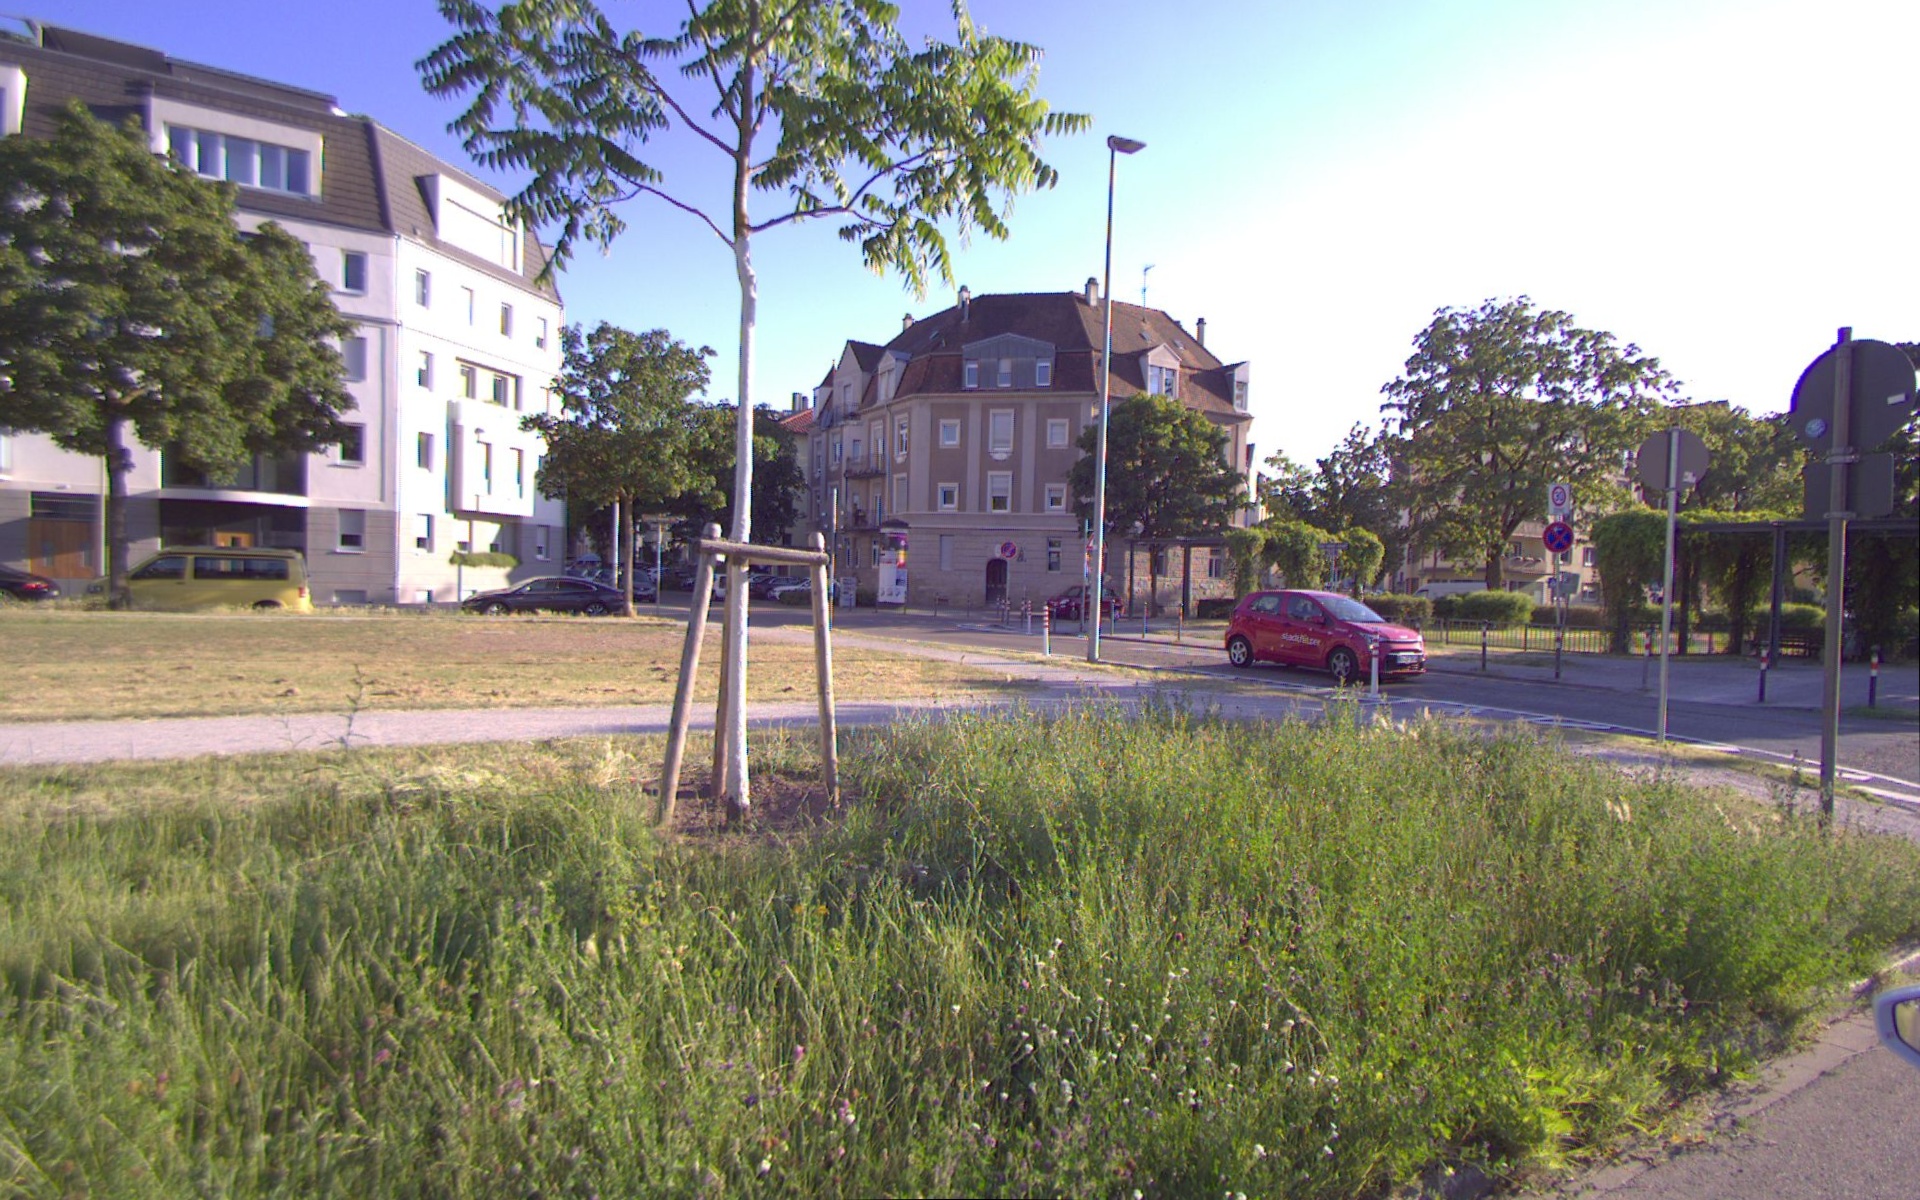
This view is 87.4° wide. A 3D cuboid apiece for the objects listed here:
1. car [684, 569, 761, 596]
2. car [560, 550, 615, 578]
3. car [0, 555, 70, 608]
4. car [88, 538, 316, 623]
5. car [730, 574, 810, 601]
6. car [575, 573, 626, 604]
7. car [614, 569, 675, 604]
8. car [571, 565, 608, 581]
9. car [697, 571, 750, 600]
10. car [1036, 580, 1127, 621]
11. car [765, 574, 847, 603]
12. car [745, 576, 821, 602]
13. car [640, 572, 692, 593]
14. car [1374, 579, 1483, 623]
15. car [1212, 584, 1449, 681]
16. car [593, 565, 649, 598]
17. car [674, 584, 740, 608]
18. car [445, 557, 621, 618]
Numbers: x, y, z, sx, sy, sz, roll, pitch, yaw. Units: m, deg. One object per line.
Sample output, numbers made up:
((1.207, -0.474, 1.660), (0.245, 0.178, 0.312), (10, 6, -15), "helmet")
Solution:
((-15.427, -1.152, 65.302), (4.491, 1.663, 1.857), (1, 2, -32), "car")
((-42.756, -4.088, 115.399), (5.501, 3.008, 2.449), (1, 2, -33), "car")
((-28.323, -0.565, 28.774), (3.953, 1.483, 1.664), (1, 1, -30), "car")
((-20.010, -0.480, 26.818), (4.642, 2.041, 2.015), (1, 1, -32), "car")
((-11.610, -0.776, 61.587), (4.448, 1.546, 1.933), (-1, 3, -37), "car")
((-20.624, -0.694, 57.586), (1.870, 1.612, 4.052), (1, 1, -33), "car")
((-15.770, -0.694, 50.035), (1.870, 1.612, 4.052), (1, 1, -33), "car")
((-41.221, -3.028, 111.717), (3.568, 1.682, 1.635), (1, 2, -33), "car")
((-12.925, -0.802, 54.777), (1.800, 1.492, 4.185), (1, 1, -28), "car")
((5.925, 0.027, 48.924), (4.039, 1.764, 1.797), (1, 3, -30), "car")
((-8.421, -0.619, 54.943), (4.016, 1.526, 1.845), (1, 2, -32), "car")
((-10.401, -0.648, 59.160), (4.110, 1.467, 1.658), (0, 2, -32), "car")
((-23.679, -1.438, 80.951), (3.701, 1.579, 1.710), (1, 2, -32), "car")
((32.222, 0.040, 69.178), (6.571, 2.781, 2.313), (3, 1, 31), "car")
((6.535, 0.513, 18.109), (1.750, 1.546, 3.742), (1, 0, -30), "car")
((-18.218, -1.014, 53.852), (1.870, 1.612, 4.052), (1, 1, -33), "car")
((-17.804, -0.297, 70.704), (4.157, 1.579, 1.858), (1, 2, -32), "car")
((-13.122, -0.361, 30.961), (4.783, 1.691, 1.774), (1, 1, -31), "car")
